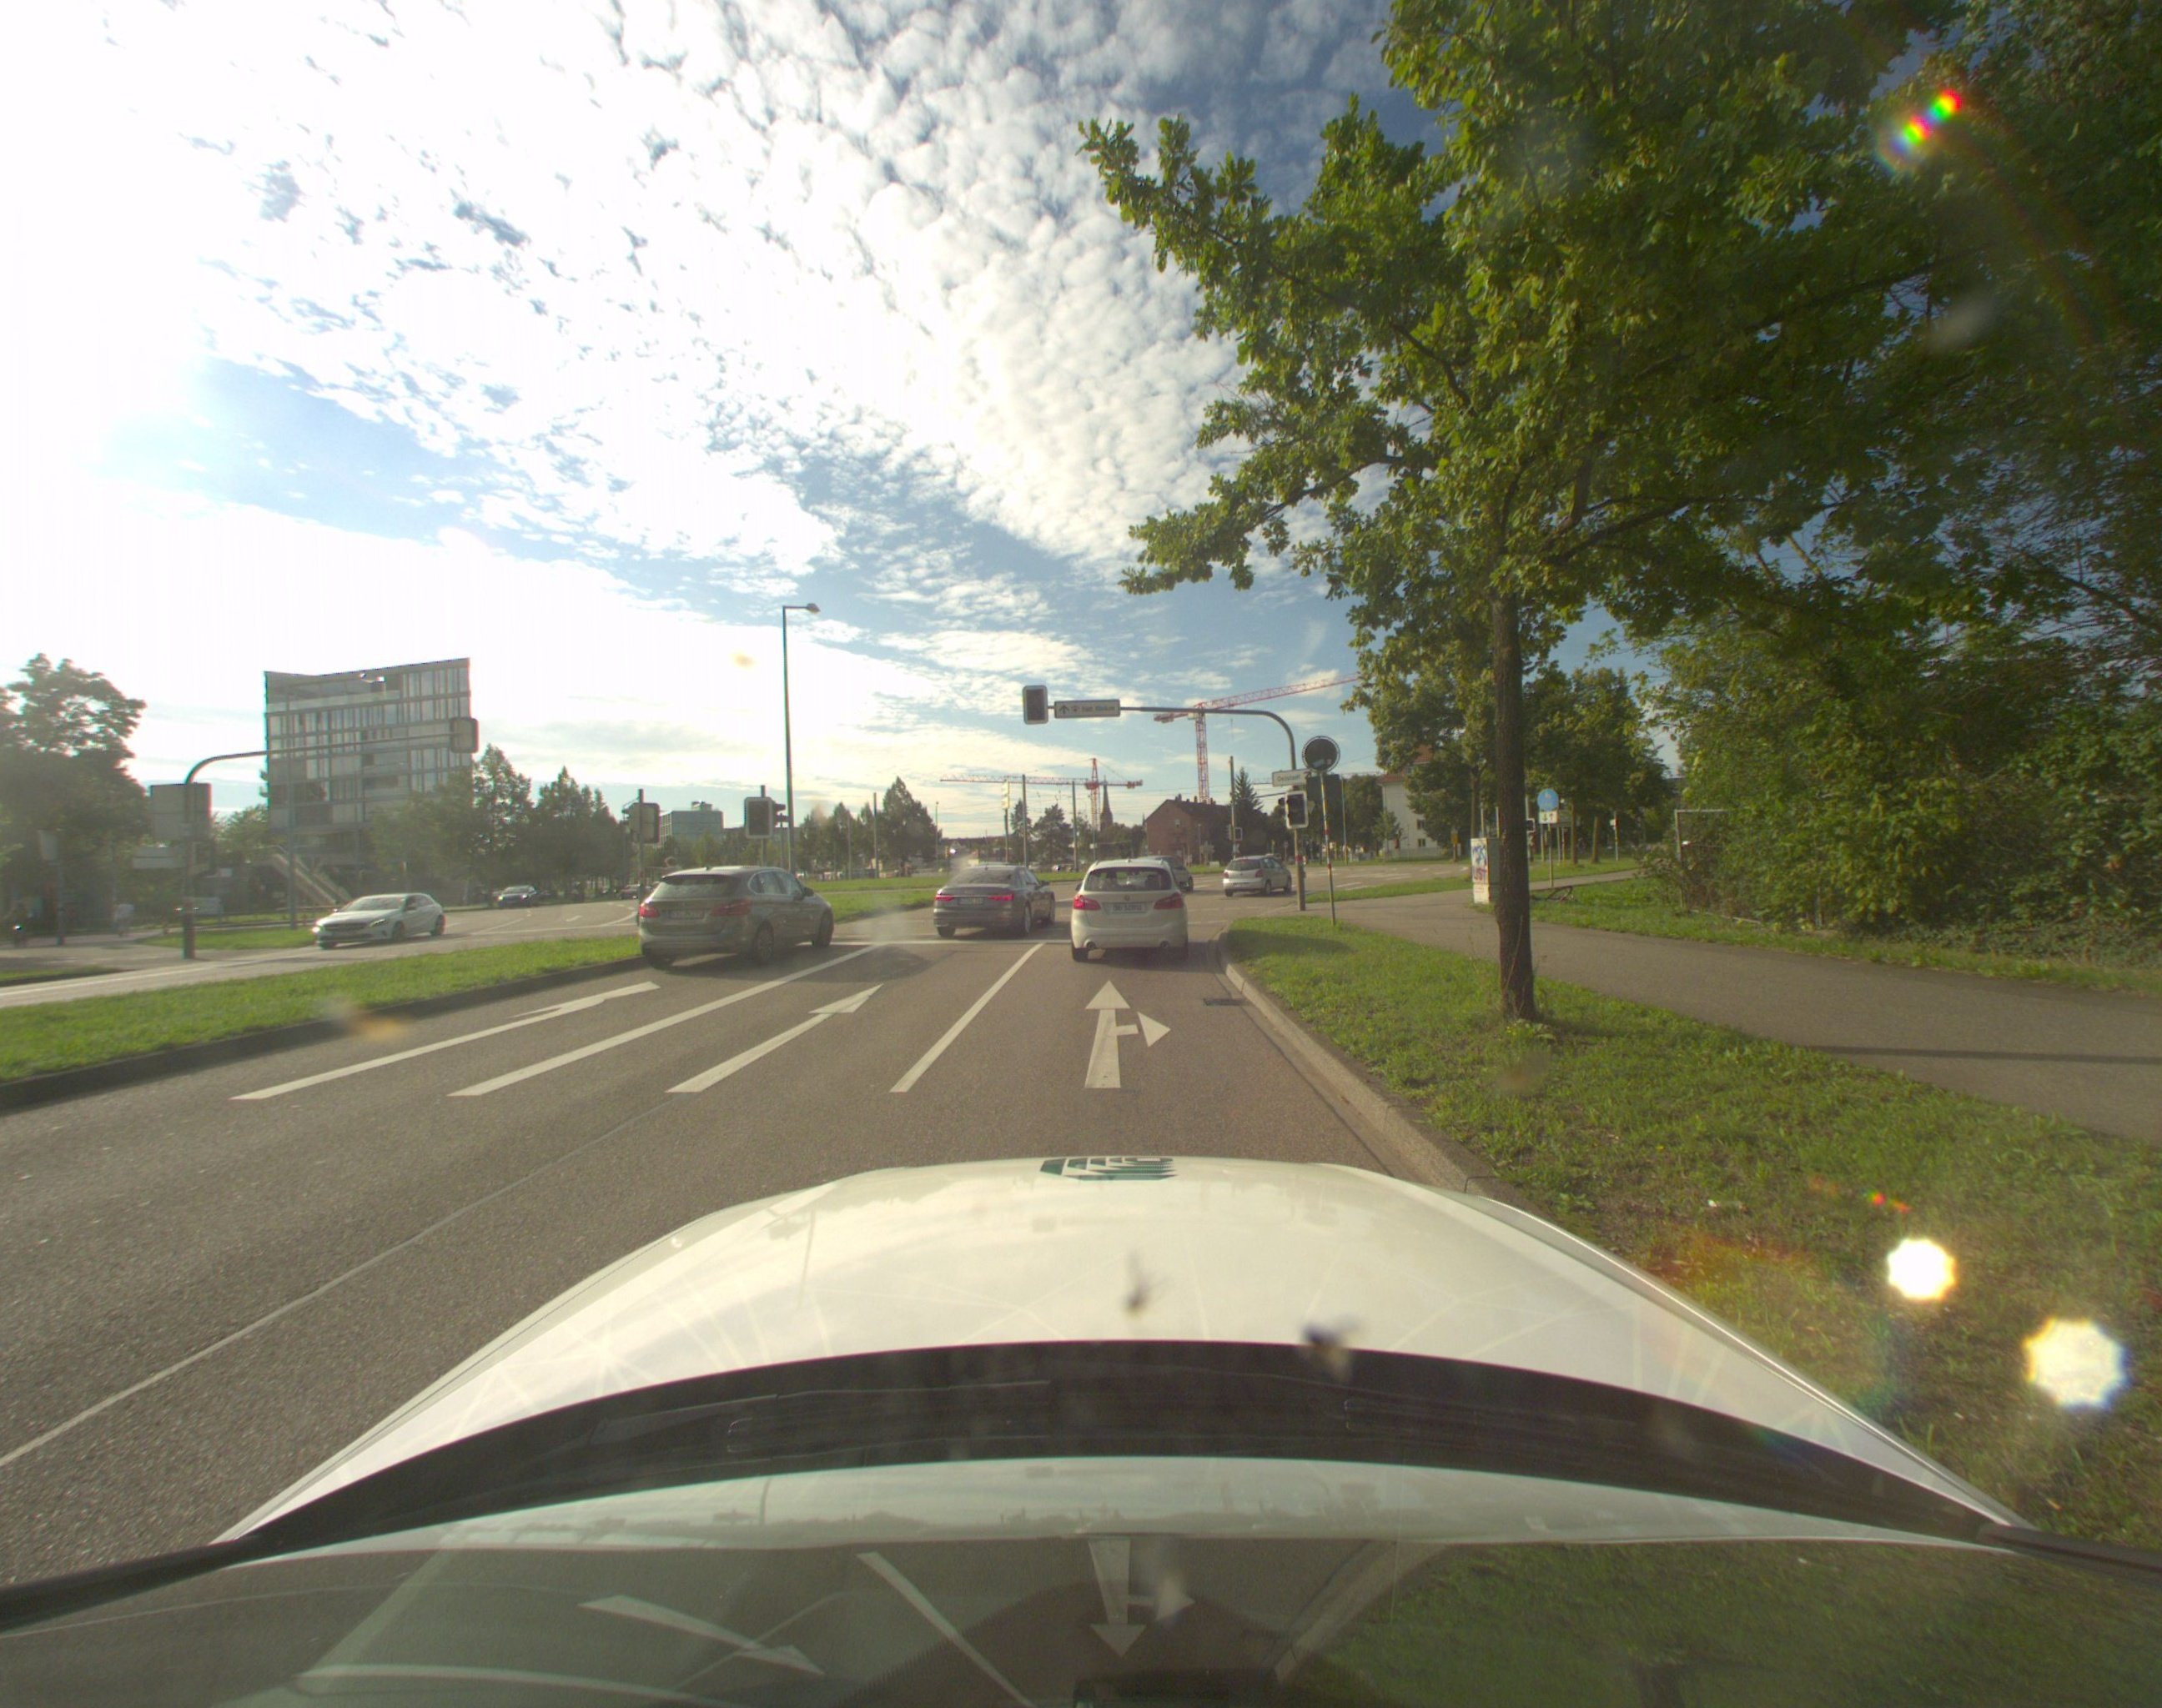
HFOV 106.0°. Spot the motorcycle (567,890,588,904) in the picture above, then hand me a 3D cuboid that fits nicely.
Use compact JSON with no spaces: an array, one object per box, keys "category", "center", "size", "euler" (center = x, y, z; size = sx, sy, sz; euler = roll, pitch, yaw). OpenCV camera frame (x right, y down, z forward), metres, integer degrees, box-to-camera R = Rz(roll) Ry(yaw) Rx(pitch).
[{"category":"motorcycle","center":[-39.594,3.392,64.050],"size":[0.783,0.986,2.013],"euler":[-1,1,-15]}]

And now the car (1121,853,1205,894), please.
[{"category":"car","center":[3.522,0.777,34.161],"size":[1.833,1.478,4.482],"euler":[-2,0,29]}]

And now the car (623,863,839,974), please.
[{"category":"car","center":[-5.675,0.958,13.830],"size":[1.761,1.572,4.069],"euler":[-1,-1,2]}]

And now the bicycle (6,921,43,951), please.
[{"category":"bicycle","center":[-41.079,3.175,31.679],"size":[0.615,0.988,1.815],"euler":[-3,1,-45]}]

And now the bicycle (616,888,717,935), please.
[{"category":"bicycle","center":[-10.214,1.412,20.101],"size":[1.945,1.007,1.004],"euler":[-3,-1,6]}]

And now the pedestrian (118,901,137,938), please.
[{"category":"pedestrian","center":[-42.250,2.891,36.087],"size":[0.541,1.625,0.509],"euler":[-3,-1,41]}]

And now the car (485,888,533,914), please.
[{"category":"car","center":[-36.807,3.002,52.488],"size":[1.786,1.501,3.961],"euler":[-4,0,-25]}]

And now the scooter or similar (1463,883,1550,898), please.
[{"category":"scooter or similar","center":[10.831,0.921,20.758],"size":[1.555,0.281,1.283],"euler":[-2,-1,-23]}]

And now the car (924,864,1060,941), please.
[{"category":"car","center":[-1.783,0.962,18.076],"size":[1.840,1.445,4.725],"euler":[-1,-1,8]}]

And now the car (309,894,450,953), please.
[{"category":"car","center":[-20.974,2.010,24.570],"size":[1.684,1.434,3.971],"euler":[-2,-1,-16]}]

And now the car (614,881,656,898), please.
[{"category":"car","center":[-40.943,3.256,74.874],"size":[1.759,1.420,3.997],"euler":[-2,-1,-2]}]

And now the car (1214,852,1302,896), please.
[{"category":"car","center":[6.775,0.714,30.824],"size":[1.832,1.426,4.483],"euler":[-2,1,32]}]

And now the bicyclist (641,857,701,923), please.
[{"category":"bicyclist","center":[-10.102,0.869,20.084],"size":[0.858,1.556,0.999],"euler":[-3,-1,6]}]

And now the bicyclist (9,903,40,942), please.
[{"category":"bicyclist","center":[-41.100,2.653,31.687],"size":[0.614,1.445,0.689],"euler":[-2,-1,-44]}]

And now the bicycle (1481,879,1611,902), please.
[{"category":"bicycle","center":[10.152,0.784,17.866],"size":[1.094,0.346,2.228],"euler":[-2,2,-32]}]

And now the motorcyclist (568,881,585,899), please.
[{"category":"motorcyclist","center":[-39.615,2.810,63.960],"size":[0.783,1.366,0.939],"euler":[-2,-1,-14]}]

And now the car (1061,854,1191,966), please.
[{"category":"car","center":[0.729,0.837,13.978],"size":[1.843,1.572,4.456],"euler":[-1,-1,2]}]

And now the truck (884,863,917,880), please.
[{"category":"truck","center":[-35.782,3.462,161.391],"size":[2.833,3.207,7.225],"euler":[-1,-2,-45]}]
